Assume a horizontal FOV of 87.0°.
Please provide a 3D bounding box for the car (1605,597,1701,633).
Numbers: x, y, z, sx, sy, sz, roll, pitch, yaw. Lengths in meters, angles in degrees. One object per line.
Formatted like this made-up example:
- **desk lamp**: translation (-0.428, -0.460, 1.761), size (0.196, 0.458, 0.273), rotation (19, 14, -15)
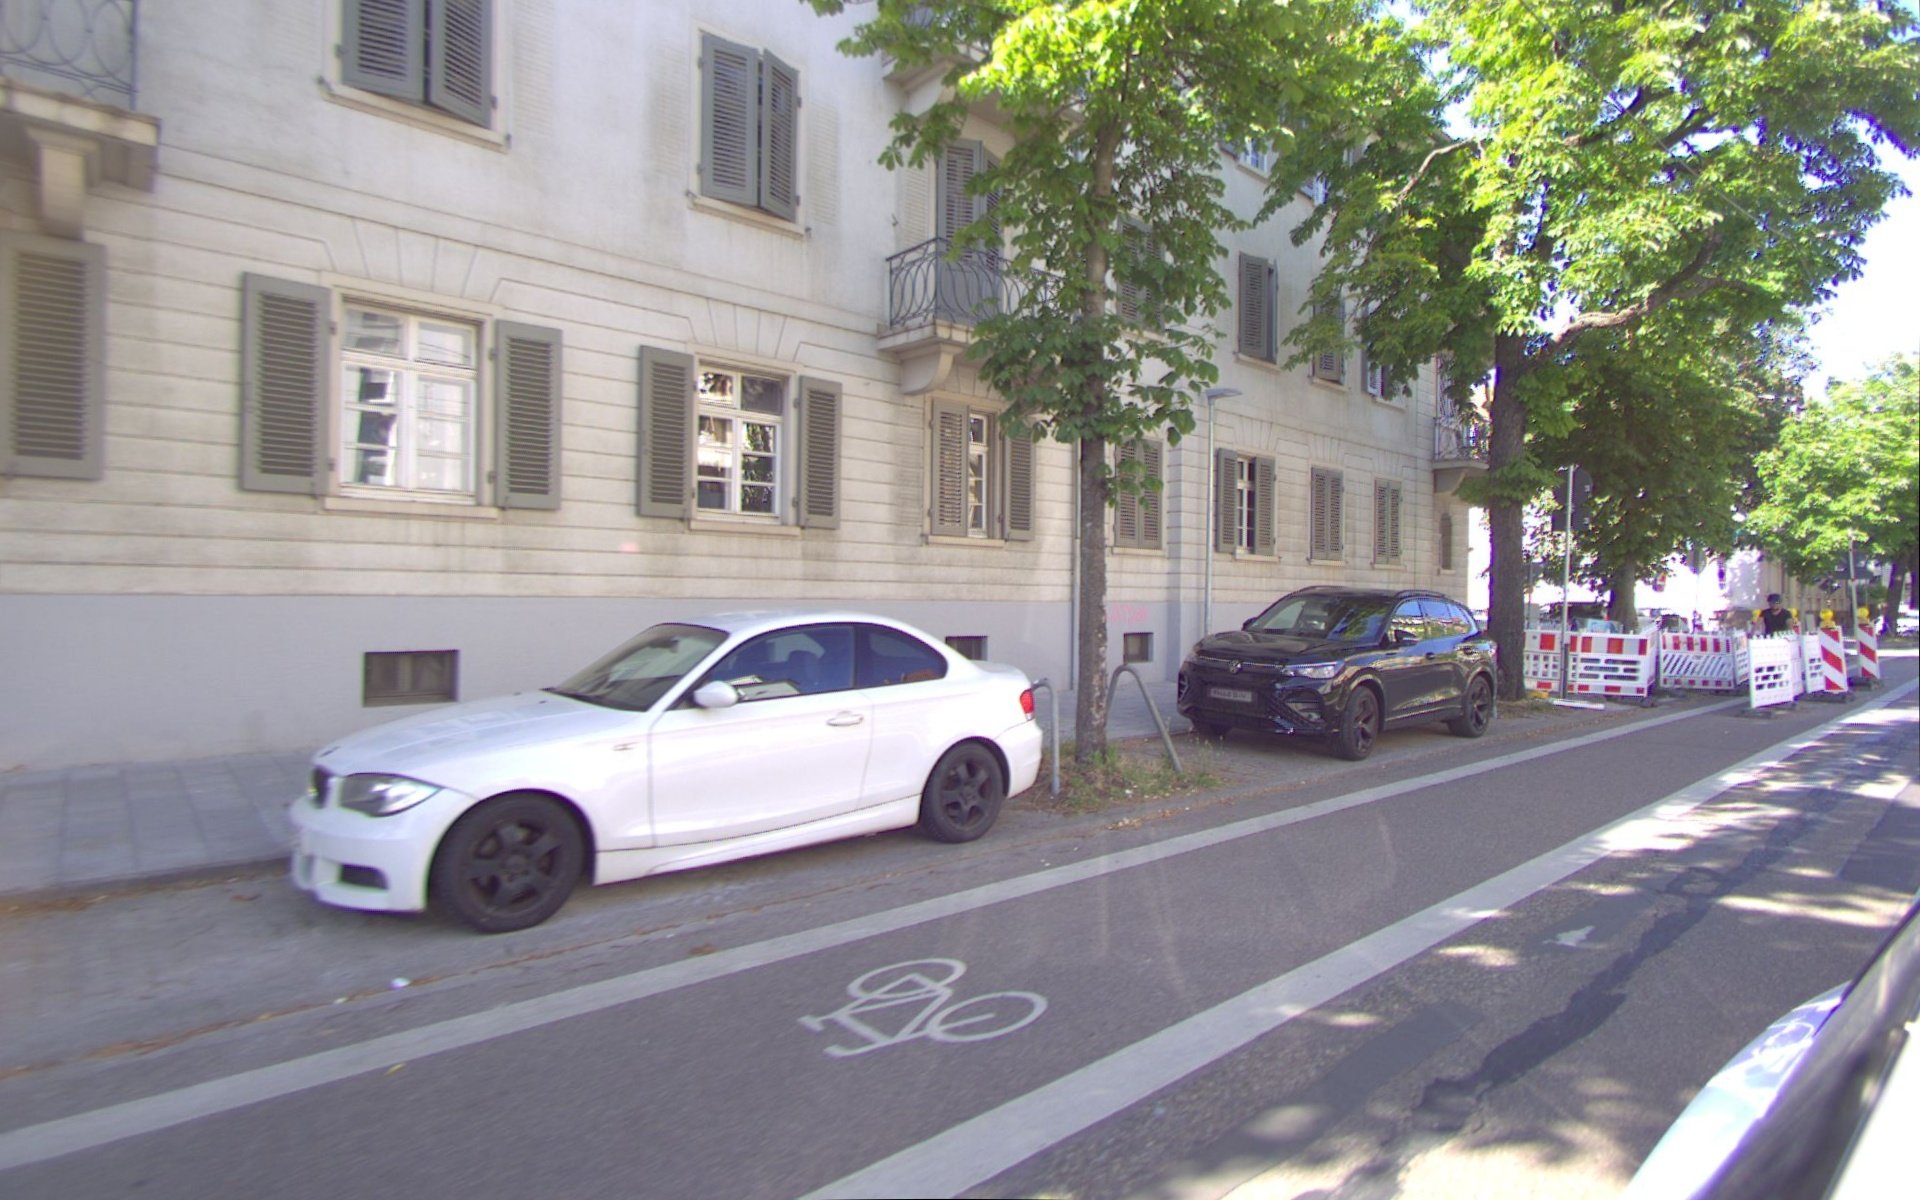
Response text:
- **car**: translation (32.794, 0.694, 47.993), size (1.687, 1.557, 3.447), rotation (-3, 0, -14)

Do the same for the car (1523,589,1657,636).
- **car**: translation (28.058, 0.539, 45.319), size (1.958, 1.914, 5.077), rotation (-2, 0, -15)

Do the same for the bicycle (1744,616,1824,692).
- **bicycle**: translation (14.573, 0.918, 17.883), size (2.060, 1.258, 0.762), rotation (0, -2, -42)

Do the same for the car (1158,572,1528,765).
- **car**: translation (4.297, 0.577, 10.971), size (4.504, 1.646, 1.814), rotation (0, 2, -41)

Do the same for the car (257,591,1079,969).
- **car**: translation (-1.416, 0.684, 5.902), size (4.278, 1.399, 1.727), rotation (0, 1, -40)

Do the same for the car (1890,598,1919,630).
- **car**: translation (47.332, 0.665, 49.935), size (4.140, 1.490, 1.704), rotation (0, 1, -41)

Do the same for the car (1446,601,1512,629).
- **car**: translation (29.868, 0.825, 58.367), size (1.408, 1.519, 3.508), rotation (-1, 0, -14)

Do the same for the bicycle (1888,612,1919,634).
- **bicycle**: translation (43.623, 1.060, 46.381), size (1.563, 0.992, 0.631), rotation (1, 0, 40)

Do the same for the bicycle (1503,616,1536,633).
- **bicycle**: translation (25.337, 1.101, 45.854), size (0.410, 0.768, 1.385), rotation (0, 0, -17)

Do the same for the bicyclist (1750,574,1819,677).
- **bicyclist**: translation (14.629, 0.447, 17.951), size (1.028, 1.761, 0.762), rotation (0, -2, -42)
